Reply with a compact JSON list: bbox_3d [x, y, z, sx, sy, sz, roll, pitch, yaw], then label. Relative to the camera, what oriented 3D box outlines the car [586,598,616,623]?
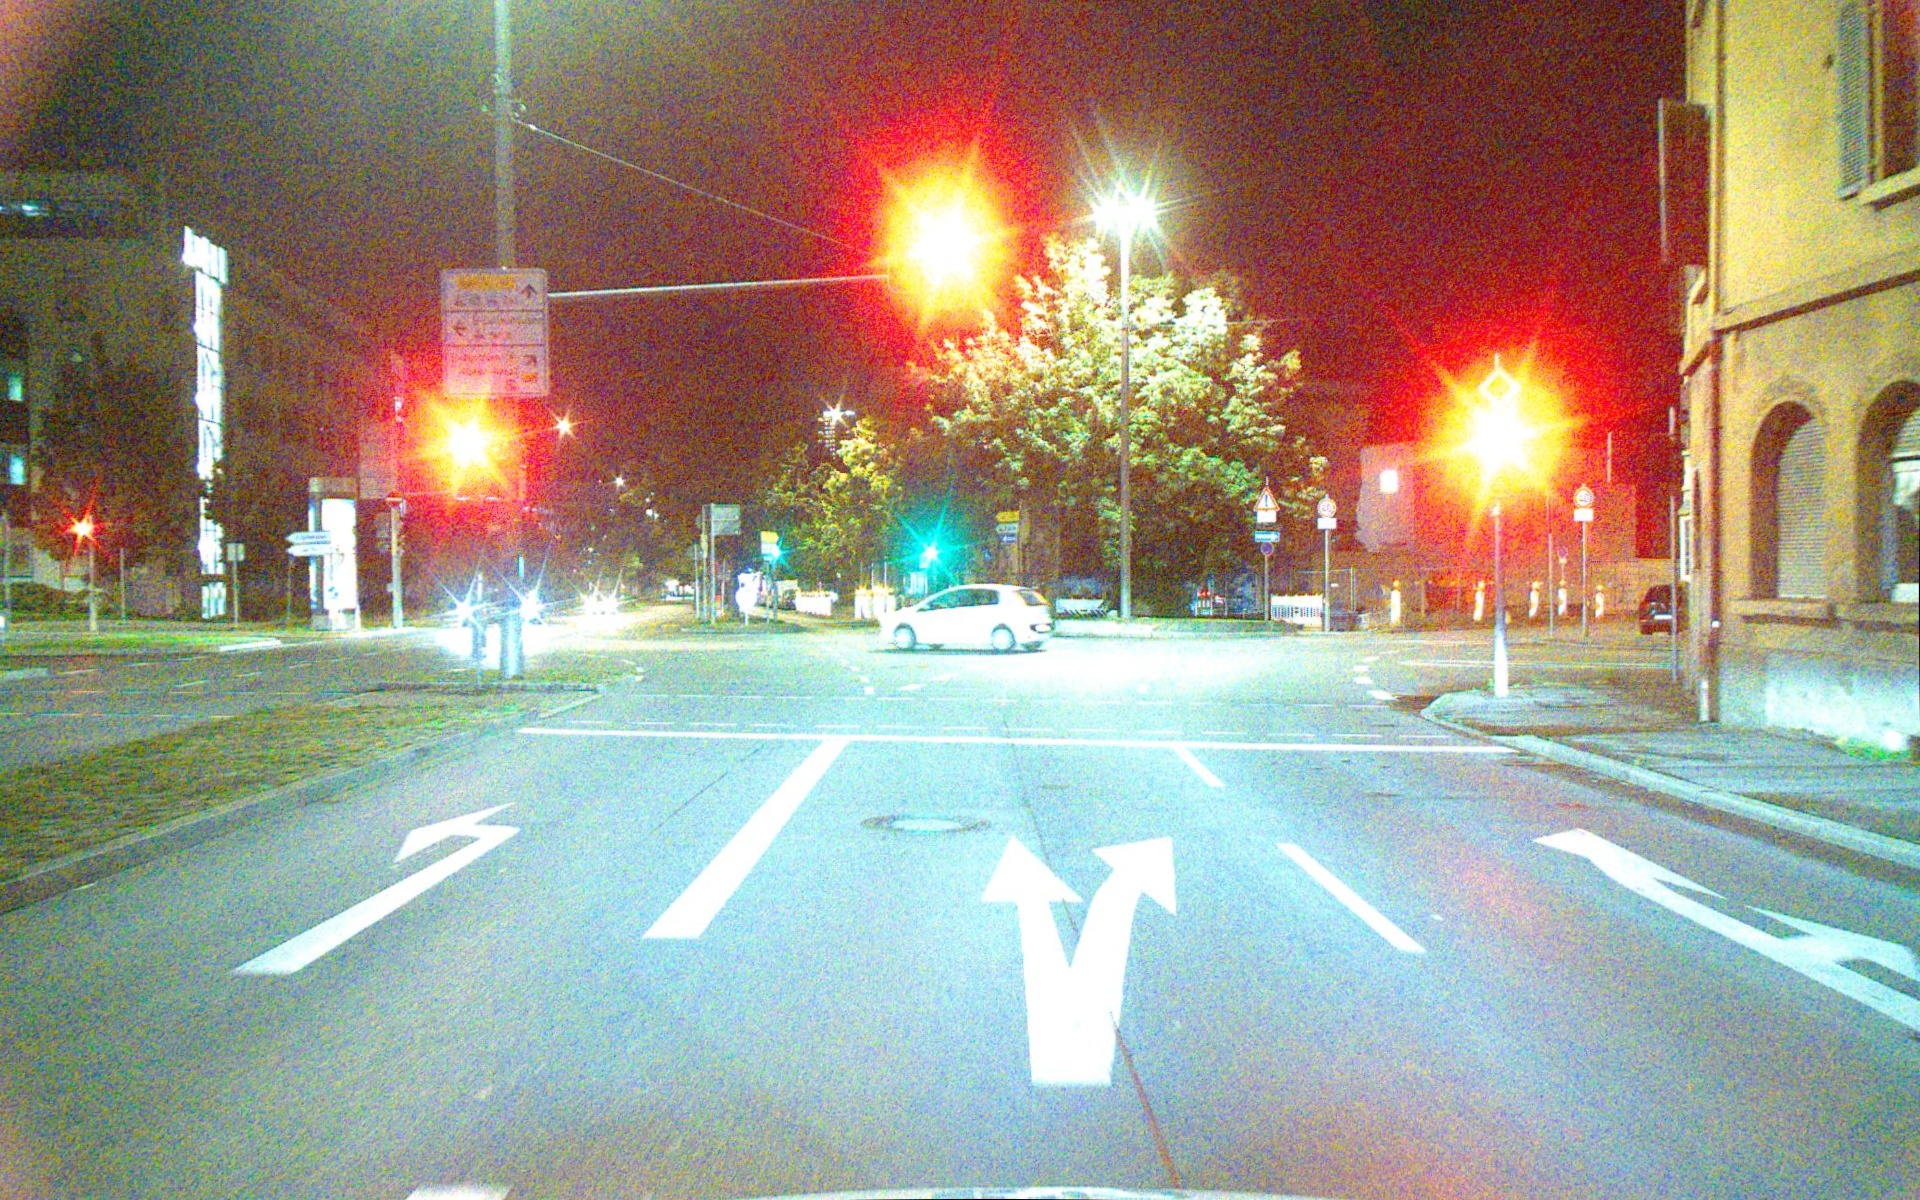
[{"bbox_3d":[-25.332,0.724,116.643,1.724,1.758,3.542,0,0,-7],"label":"car"}]

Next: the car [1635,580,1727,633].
[{"bbox_3d":[22.828,0.206,52.313,1.702,1.640,3.603,-1,0,41],"label":"car"}]

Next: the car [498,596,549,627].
[{"bbox_3d":[-19.621,0.518,74.415,1.724,1.345,3.542,0,0,-7],"label":"car"}]

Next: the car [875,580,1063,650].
[{"bbox_3d":[0.189,0.350,37.400,3.910,1.517,1.707,-1,0,27],"label":"car"}]

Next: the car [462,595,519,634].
[{"bbox_3d":[-18.938,0.573,66.886,1.585,1.541,3.994,0,0,-6],"label":"car"}]
